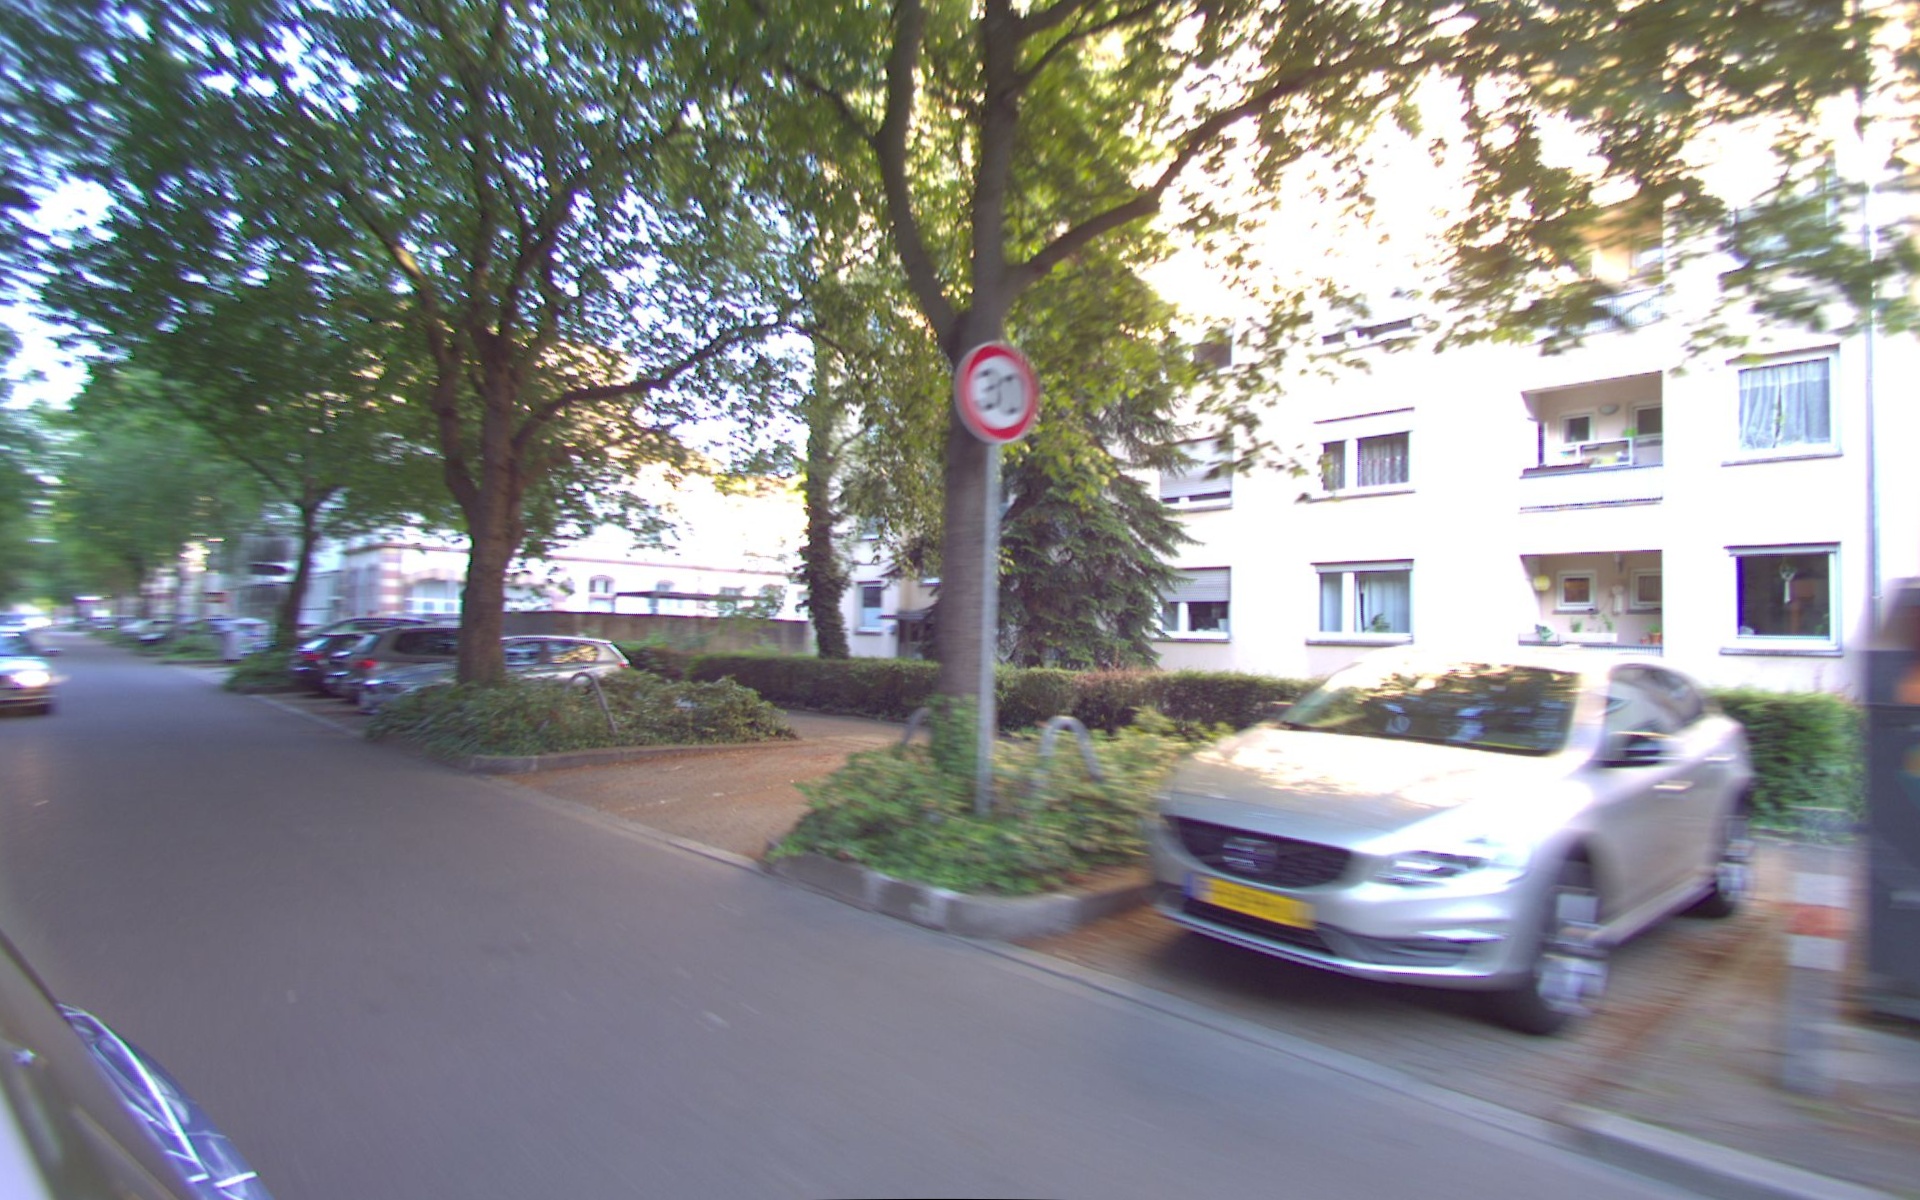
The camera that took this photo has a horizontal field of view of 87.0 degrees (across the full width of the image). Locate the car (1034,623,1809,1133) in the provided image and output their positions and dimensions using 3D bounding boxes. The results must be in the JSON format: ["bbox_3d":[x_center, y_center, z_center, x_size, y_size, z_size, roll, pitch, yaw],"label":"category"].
[{"bbox_3d":[2.740,0.941,5.422,4.562,1.564,2.078,2,-3,-41],"label":"car"}]

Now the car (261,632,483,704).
[{"bbox_3d":[-13.178,1.486,22.809,1.923,1.475,3.941,-2,-3,45],"label":"car"}]

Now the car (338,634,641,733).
[{"bbox_3d":[-7.829,1.332,17.096,4.237,1.440,1.881,3,-3,-44],"label":"car"}]

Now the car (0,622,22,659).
[{"bbox_3d":[-43.938,1.815,45.808,1.864,1.658,4.007,1,-2,-39],"label":"car"}]

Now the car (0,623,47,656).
[{"bbox_3d":[-55.263,2.317,59.619,1.968,1.863,4.007,1,-2,-39],"label":"car"}]

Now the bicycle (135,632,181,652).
[{"bbox_3d":[-34.738,1.812,43.827,1.533,0.837,0.614,3,-3,-40],"label":"bicycle"}]

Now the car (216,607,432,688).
[{"bbox_3d":[-16.678,1.237,26.702,2.001,1.970,4.453,-1,-3,45],"label":"car"}]

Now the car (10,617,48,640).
[{"bbox_3d":[-76.162,2.312,82.841,1.968,1.863,4.007,1,-2,-39],"label":"car"}]

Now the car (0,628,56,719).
[{"bbox_3d":[-16.165,1.139,16.576,4.334,1.381,1.712,-2,-3,45],"label":"car"}]

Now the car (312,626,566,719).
[{"bbox_3d":[-9.762,1.317,19.089,3.935,1.577,1.933,3,-3,-38],"label":"car"}]

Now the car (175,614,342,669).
[{"bbox_3d":[-24.369,1.434,35.259,2.001,1.785,4.453,-1,-3,45],"label":"car"}]

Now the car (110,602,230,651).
[{"bbox_3d":[-43.416,1.505,55.678,4.944,2.592,2.123,3,-3,-44],"label":"car"}]

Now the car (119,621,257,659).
[{"bbox_3d":[-35.181,1.838,46.190,4.794,1.634,2.162,3,-3,-43],"label":"car"}]

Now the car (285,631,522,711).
[{"bbox_3d":[-11.515,1.427,21.101,1.826,1.502,3.942,-1,-3,44],"label":"car"}]
